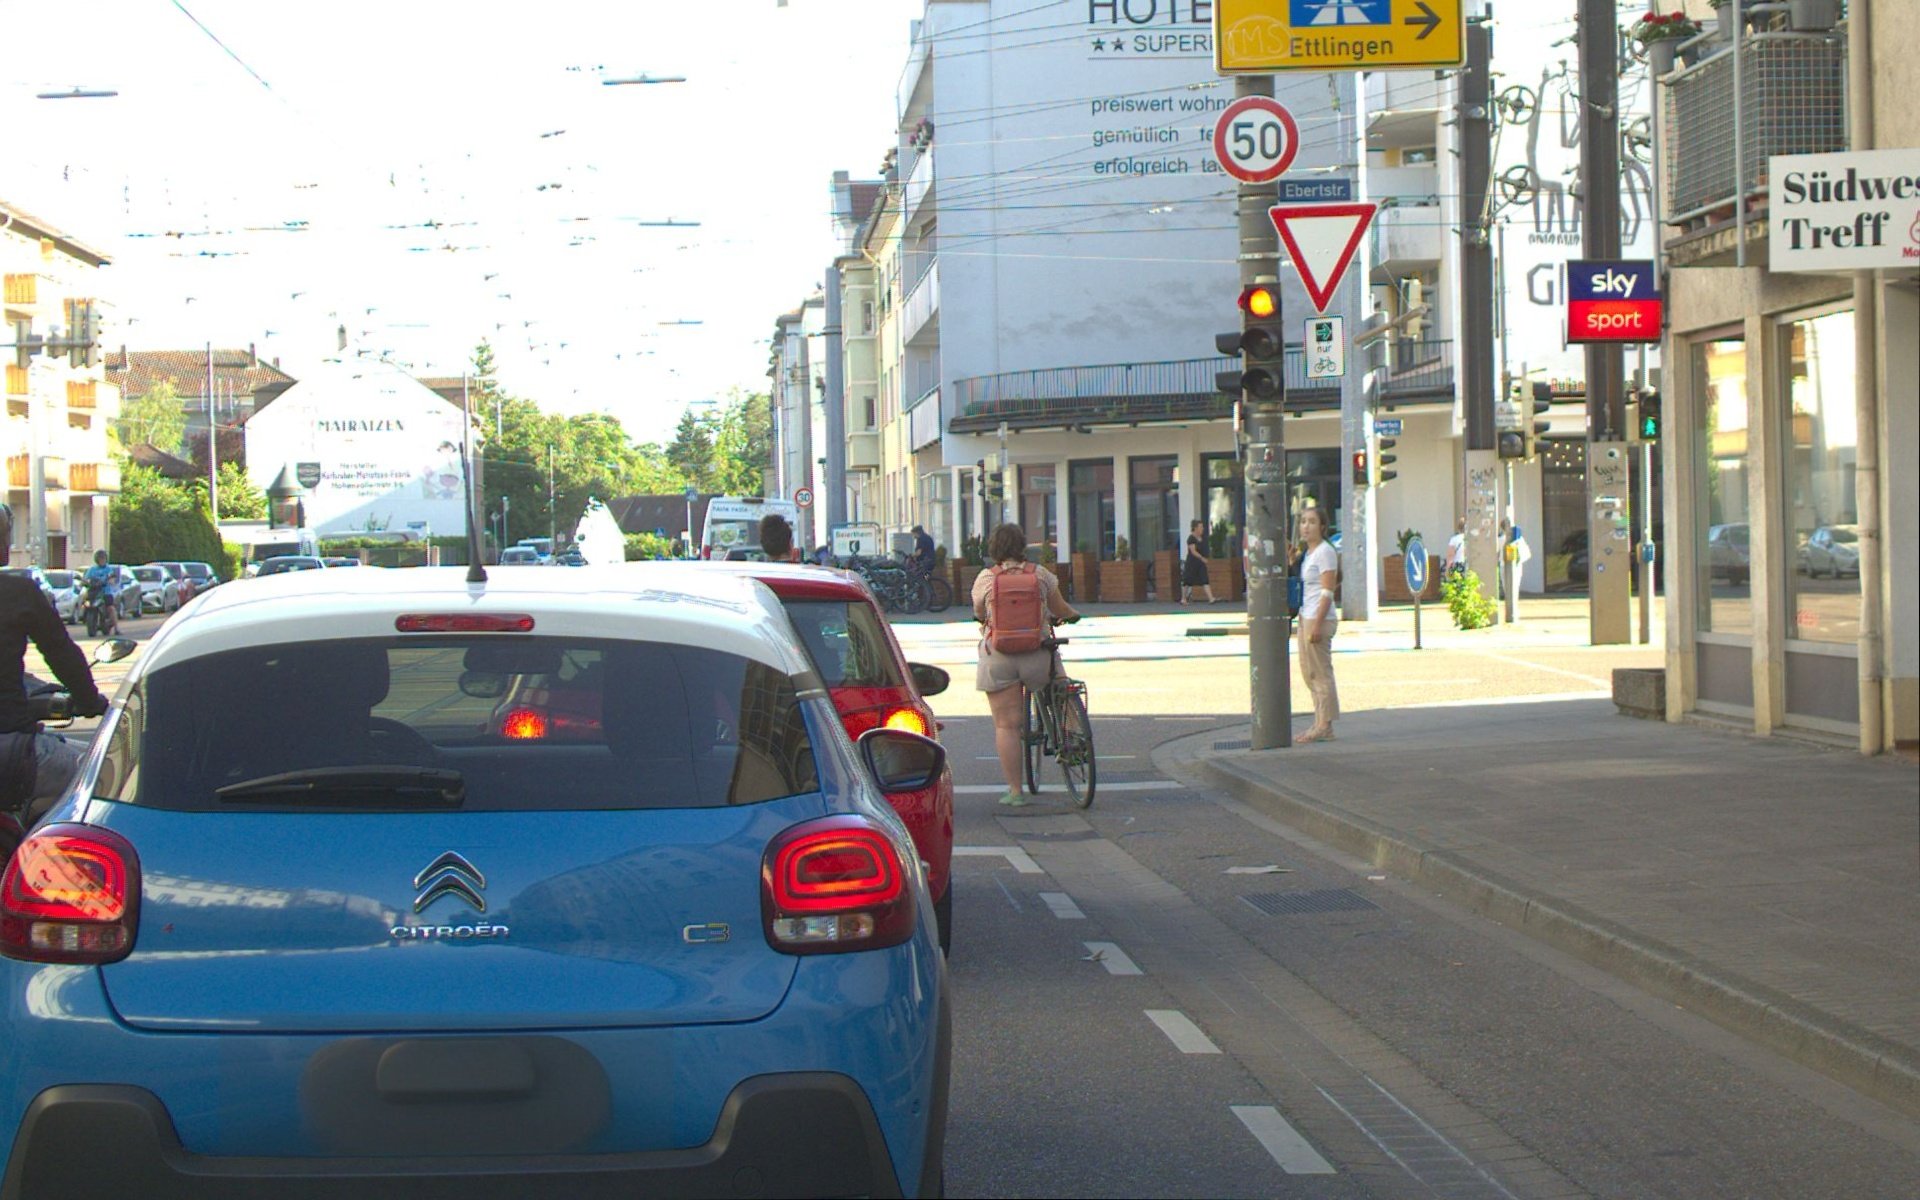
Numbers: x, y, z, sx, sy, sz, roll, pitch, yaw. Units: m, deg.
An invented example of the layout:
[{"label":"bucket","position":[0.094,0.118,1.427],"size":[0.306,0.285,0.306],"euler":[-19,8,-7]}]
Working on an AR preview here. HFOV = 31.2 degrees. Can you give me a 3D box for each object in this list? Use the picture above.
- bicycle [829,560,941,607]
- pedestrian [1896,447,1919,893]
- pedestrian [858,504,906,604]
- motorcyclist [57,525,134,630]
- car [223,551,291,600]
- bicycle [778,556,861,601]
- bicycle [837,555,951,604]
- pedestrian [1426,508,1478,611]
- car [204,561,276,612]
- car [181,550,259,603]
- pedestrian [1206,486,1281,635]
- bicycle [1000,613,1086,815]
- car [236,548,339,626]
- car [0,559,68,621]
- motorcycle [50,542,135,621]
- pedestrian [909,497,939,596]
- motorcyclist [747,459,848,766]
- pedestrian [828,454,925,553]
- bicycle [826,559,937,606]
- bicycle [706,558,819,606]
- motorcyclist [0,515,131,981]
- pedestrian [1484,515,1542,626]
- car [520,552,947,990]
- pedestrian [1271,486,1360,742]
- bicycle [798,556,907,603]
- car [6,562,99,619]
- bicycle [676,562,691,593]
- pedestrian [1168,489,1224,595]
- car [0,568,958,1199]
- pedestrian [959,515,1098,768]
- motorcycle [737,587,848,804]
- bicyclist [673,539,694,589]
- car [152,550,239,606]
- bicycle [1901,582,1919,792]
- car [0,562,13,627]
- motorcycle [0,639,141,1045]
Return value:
[{"label":"bicycle","position":[-1.466,-0.321,67.098],"size":[2.132,0.898,0.367],"euler":[1,0,-9]},{"label":"pedestrian","position":[3.838,0.253,12.143],"size":[0.825,1.587,0.751],"euler":[1,0,-1]},{"label":"pedestrian","position":[-1.569,-0.928,69.220],"size":[0.630,2.007,0.724],"euler":[1,0,-36]},{"label":"motorcyclist","position":[-16.892,-0.443,67.179],"size":[1.185,2.007,1.276],"euler":[-1,1,-3]},{"label":"car","position":[-24.790,-0.883,121.340],"size":[1.846,1.681,3.875],"euler":[1,1,-4]},{"label":"bicycle","position":[-2.835,-0.436,69.346],"size":[1.785,0.898,0.366],"euler":[1,1,34]},{"label":"bicycle","position":[-1.266,-0.393,65.979],"size":[2.132,0.898,0.367],"euler":[1,0,-9]},{"label":"pedestrian","position":[7.743,-0.634,54.131],"size":[0.736,1.595,0.748],"euler":[1,0,13]},{"label":"car","position":[-24.433,-0.481,116.736],"size":[1.833,1.681,4.001],"euler":[1,1,-4]},{"label":"car","position":[-23.985,-0.774,111.524],"size":[1.882,1.681,4.001],"euler":[1,1,-4]},{"label":"pedestrian","position":[3.866,-0.543,46.896],"size":[0.926,2.007,0.759],"euler":[1,0,-1]},{"label":"bicycle","position":[0.483,0.653,20.550],"size":[0.427,1.119,1.998],"euler":[1,1,-1]},{"label":"car","position":[-14.902,-0.299,76.371],"size":[1.774,1.660,3.857],"euler":[1,1,-4]},{"label":"car","position":[-23.718,-0.273,86.414],"size":[1.785,1.493,4.001],"euler":[1,1,-4]},{"label":"motorcycle","position":[-16.893,-0.364,67.049],"size":[0.923,1.481,3.726],"euler":[1,1,-3]},{"label":"pedestrian","position":[-0.735,-1.082,70.257],"size":[0.577,2.007,0.626],"euler":[1,0,-3]},{"label":"motorcyclist","position":[-0.921,0.068,19.625],"size":[0.526,1.710,0.717],"euler":[1,0,-1]},{"label":"pedestrian","position":[-1.756,-2.030,73.536],"size":[1.993,2.007,4.000],"euler":[1,1,-1]},{"label":"bicycle","position":[-1.543,-0.348,67.515],"size":[2.132,0.898,0.367],"euler":[1,0,-9]},{"label":"bicycle","position":[-3.811,-0.345,66.191],"size":[2.132,0.898,0.367],"euler":[1,0,-9]},{"label":"motorcyclist","position":[-3.256,0.471,11.393],"size":[0.860,1.500,0.598],"euler":[1,0,-1]},{"label":"pedestrian","position":[8.370,-0.448,52.014],"size":[0.752,1.652,0.883],"euler":[1,0,16]},{"label":"car","position":[-0.789,0.571,13.186],"size":[1.424,1.462,2.924],"euler":[-1,0,-1]},{"label":"pedestrian","position":[2.504,0.096,24.261],"size":[0.517,1.777,0.595],"euler":[1,0,-2]},{"label":"bicycle","position":[-2.141,-0.404,68.352],"size":[2.132,0.898,0.367],"euler":[1,0,-9]},{"label":"car","position":[-24.283,-0.270,92.100],"size":[1.732,1.493,4.001],"euler":[1,1,-5]},{"label":"bicycle","position":[-8.275,-0.672,102.890],"size":[0.349,0.900,1.859],"euler":[1,1,-2]},{"label":"pedestrian","position":[4.492,-1.100,65.381],"size":[0.759,2.007,0.710],"euler":[1,1,40]},{"label":"car","position":[-0.859,0.666,7.151],"size":[1.654,1.439,3.523],"euler":[1,1,-1]},{"label":"pedestrian","position":[0.397,0.237,20.239],"size":[0.777,1.455,0.682],"euler":[1,0,-1]},{"label":"motorcycle","position":[-0.929,0.503,19.442],"size":[0.526,1.136,2.290],"euler":[1,1,-1]},{"label":"bicyclist","position":[-8.277,-1.084,102.812],"size":[0.561,1.472,0.748],"euler":[1,0,-2]},{"label":"car","position":[-23.627,-0.683,106.343],"size":[1.983,1.681,4.001],"euler":[1,1,-3]},{"label":"bicycle","position":[4.841,0.422,15.781],"size":[0.542,0.995,1.706],"euler":[1,1,-1]},{"label":"car","position":[-23.283,-0.129,79.338],"size":[1.787,1.506,4.150],"euler":[1,1,-2]},{"label":"motorcycle","position":[-3.258,0.764,11.572],"size":[0.537,1.215,1.981],"euler":[1,1,-1]}]
